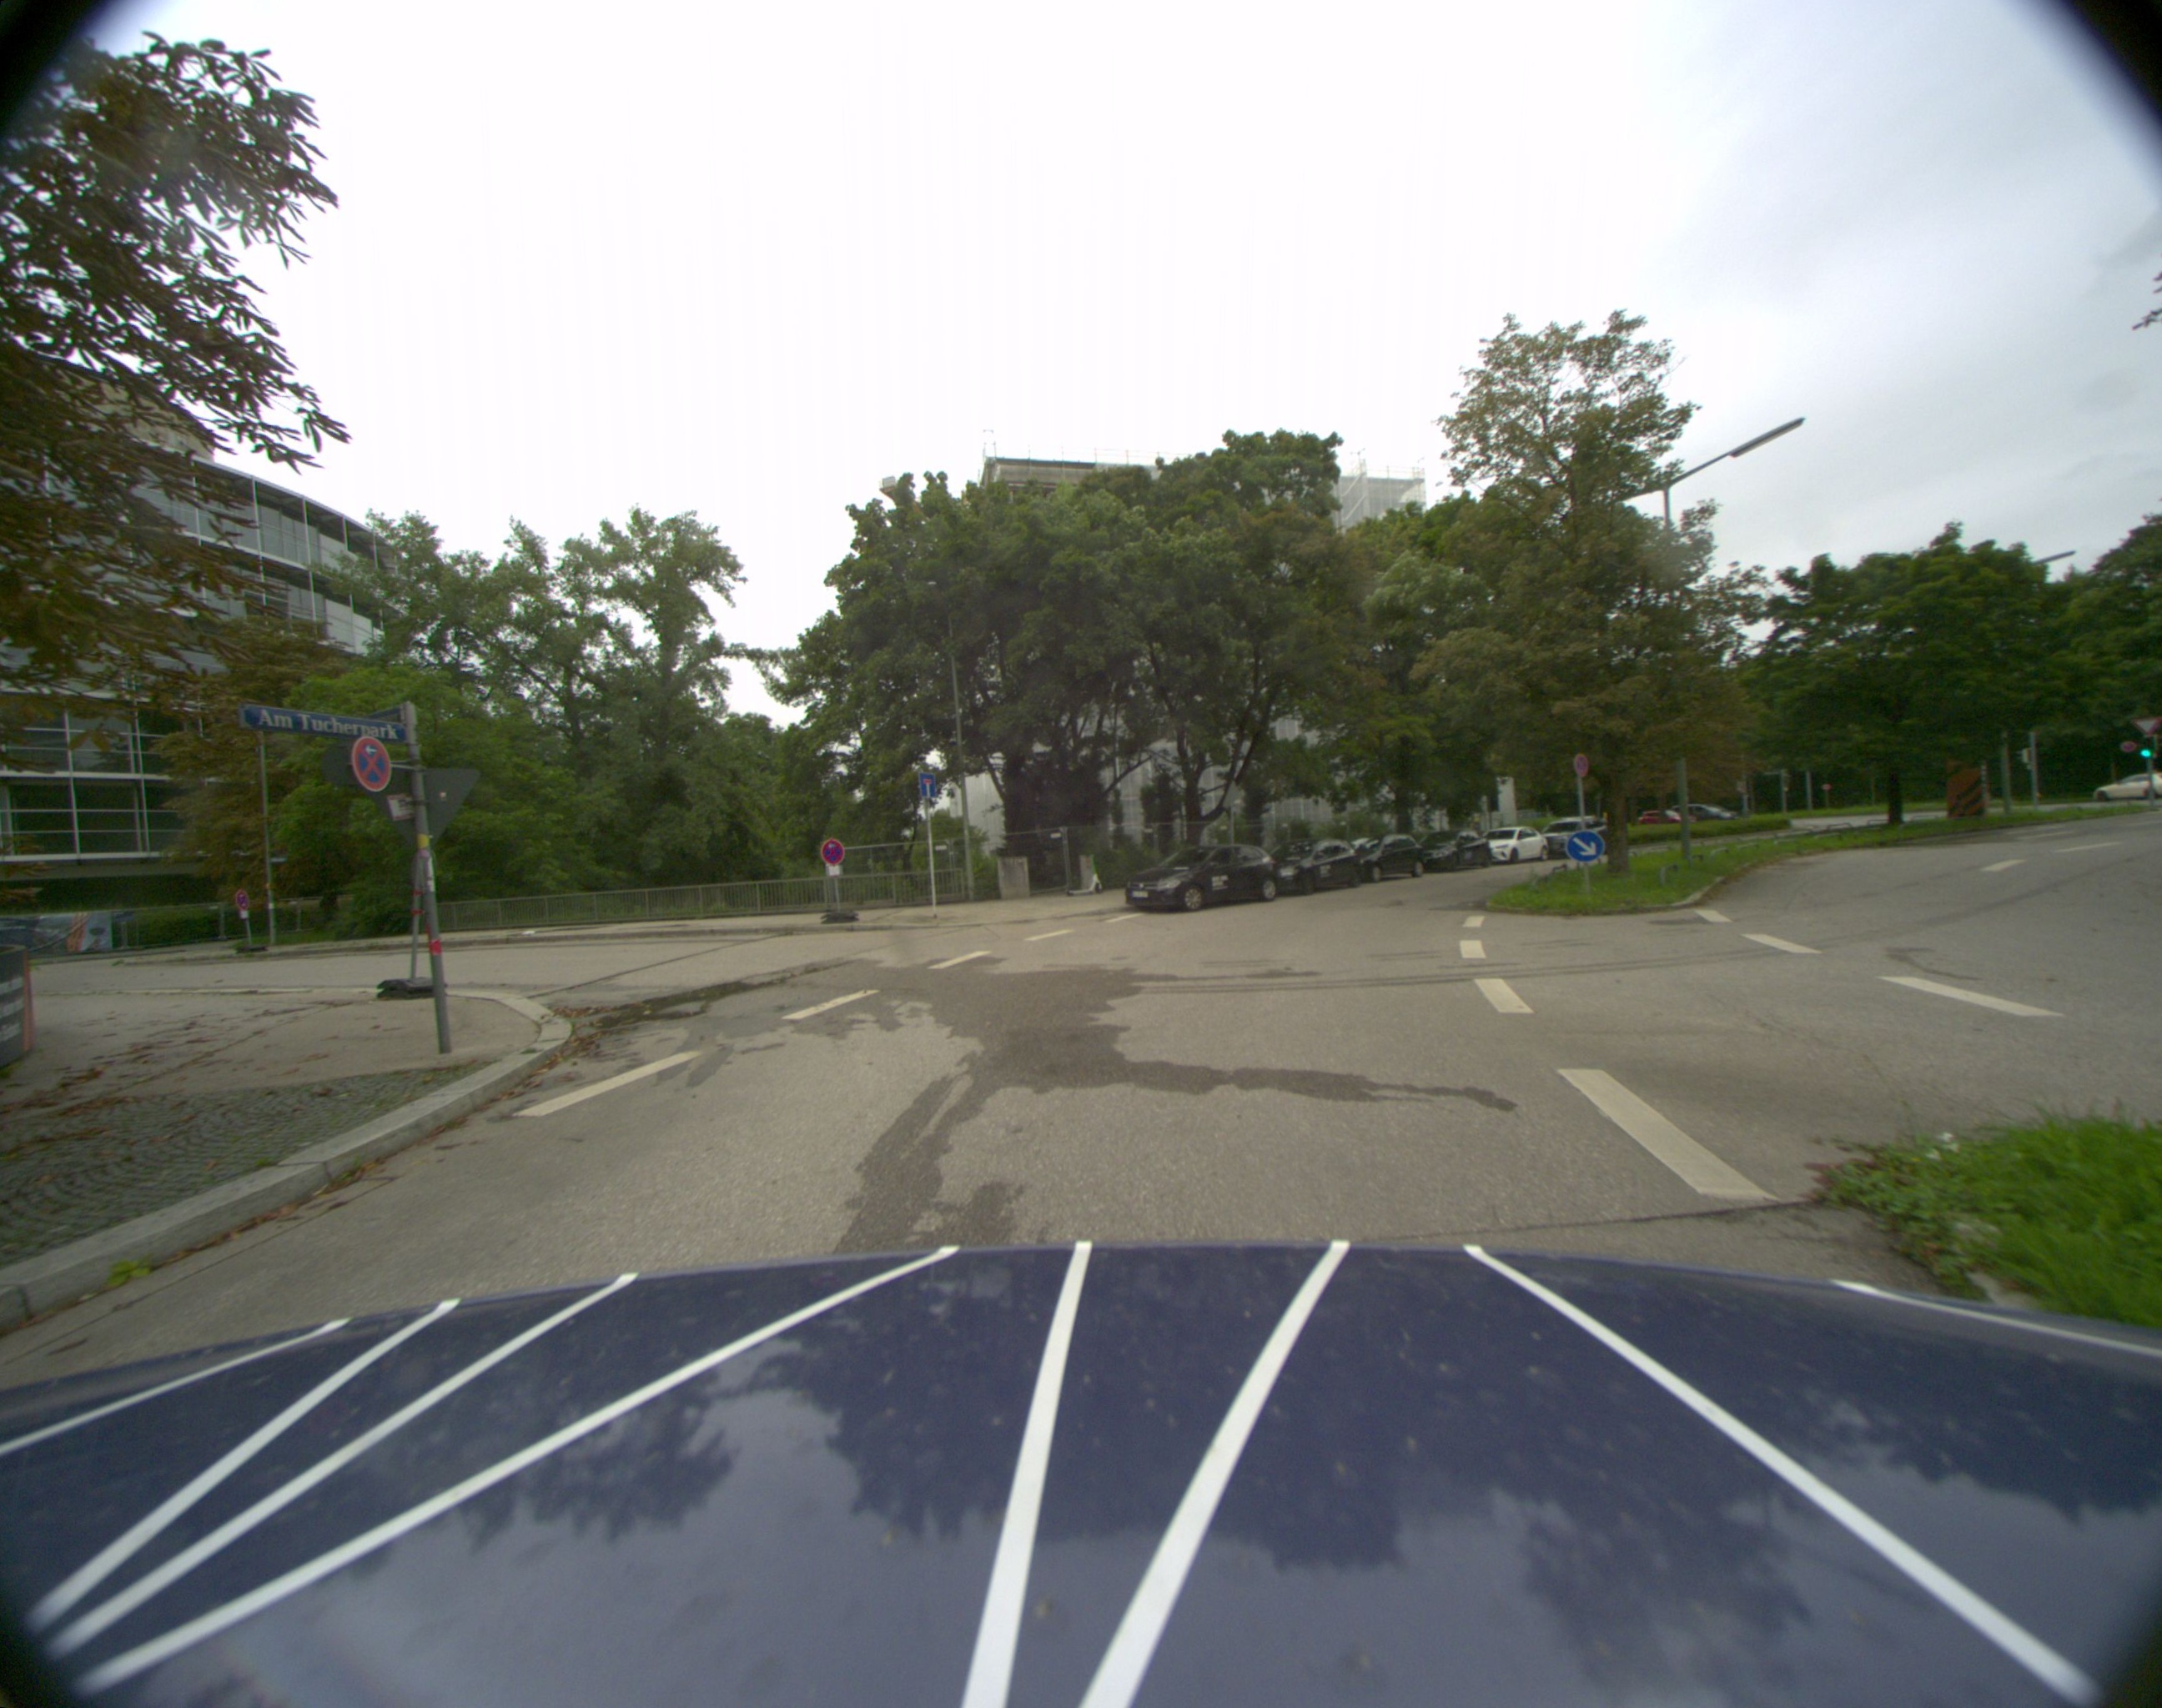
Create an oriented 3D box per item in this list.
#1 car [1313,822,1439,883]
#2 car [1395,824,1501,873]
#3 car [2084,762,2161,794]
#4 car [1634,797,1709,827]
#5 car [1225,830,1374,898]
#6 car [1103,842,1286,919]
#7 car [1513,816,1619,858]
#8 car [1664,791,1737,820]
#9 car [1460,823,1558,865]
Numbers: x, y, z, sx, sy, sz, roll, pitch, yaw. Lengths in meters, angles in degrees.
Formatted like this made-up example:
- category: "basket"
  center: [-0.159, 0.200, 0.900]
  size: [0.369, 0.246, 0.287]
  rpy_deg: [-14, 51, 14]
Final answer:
- category: "car"
  center: [9.360, -0.086, 23.997]
  size: [4.007, 1.696, 1.995]
  rpy_deg: [-4, 2, -40]
- category: "car"
  center: [13.057, -0.201, 26.953]
  size: [4.013, 1.452, 1.836]
  rpy_deg: [-4, 0, -40]
- category: "car"
  center: [59.769, -4.320, 42.709]
  size: [1.890, 1.536, 4.860]
  rpy_deg: [-4, 0, 23]
- category: "car"
  center: [46.569, -3.284, 59.995]
  size: [2.002, 2.002, 4.151]
  rpy_deg: [-4, 0, -21]
- category: "car"
  center: [5.993, 0.257, 20.626]
  size: [4.007, 1.532, 1.995]
  rpy_deg: [-4, 0, -42]
- category: "car"
  center: [2.738, 0.539, 17.823]
  size: [4.049, 1.425, 1.994]
  rpy_deg: [-4, 2, -39]
- category: "car"
  center: [20.865, -0.749, 32.661]
  size: [4.402, 1.596, 1.888]
  rpy_deg: [-2, -1, -29]
- category: "car"
  center: [49.489, -3.849, 60.761]
  size: [2.002, 2.002, 3.993]
  rpy_deg: [-4, 0, -21]
- category: "car"
  center: [16.907, -0.414, 29.952]
  size: [4.225, 1.375, 1.798]
  rpy_deg: [-4, 0, -37]
